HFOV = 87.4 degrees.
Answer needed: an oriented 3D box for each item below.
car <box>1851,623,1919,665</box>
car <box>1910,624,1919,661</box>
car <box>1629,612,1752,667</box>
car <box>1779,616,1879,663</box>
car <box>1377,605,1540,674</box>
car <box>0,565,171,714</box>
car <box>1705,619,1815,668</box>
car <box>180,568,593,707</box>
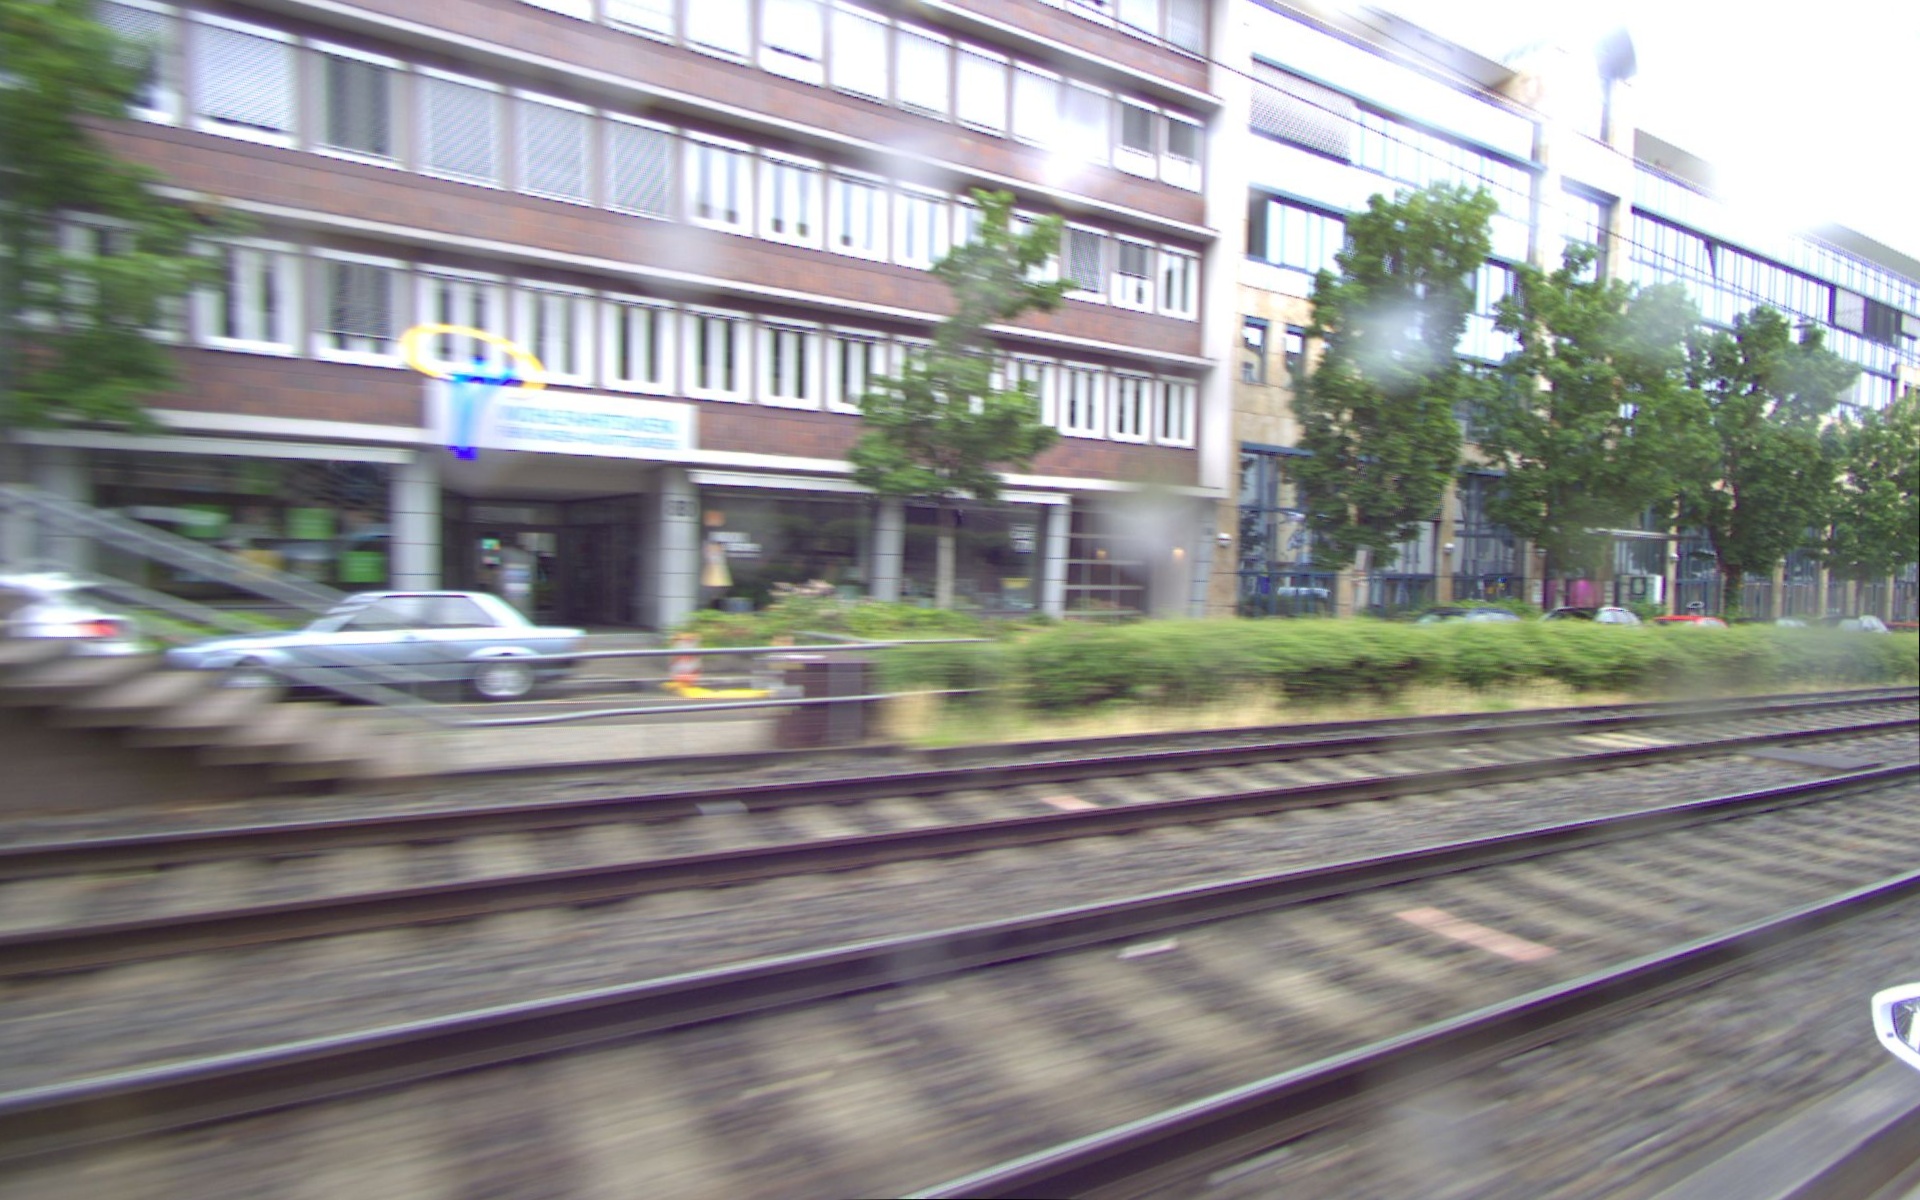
[{"bbox_3d":[34.940,1.631,37.442,4.134,1.455,1.558,2,0,-34],"label":"car"},{"bbox_3d":[39.710,1.744,40.229,4.134,1.455,1.558,2,0,-34],"label":"car"},{"bbox_3d":[21.299,1.139,29.257,4.134,1.455,1.558,2,0,-34],"label":"car"},{"bbox_3d":[29.752,1.353,34.366,4.134,1.455,1.558,2,0,-34],"label":"car"},{"bbox_3d":[11.686,0.917,23.482,4.134,1.455,1.558,2,0,-34],"label":"car"},{"bbox_3d":[-10.572,0.347,9.932,4.194,1.455,1.558,2,0,-34],"label":"car"},{"bbox_3d":[25.702,1.383,32.237,4.134,1.455,1.558,2,0,-34],"label":"car"},{"bbox_3d":[-6.836,0.432,12.297,4.134,1.455,1.558,2,0,-34],"label":"car"}]
